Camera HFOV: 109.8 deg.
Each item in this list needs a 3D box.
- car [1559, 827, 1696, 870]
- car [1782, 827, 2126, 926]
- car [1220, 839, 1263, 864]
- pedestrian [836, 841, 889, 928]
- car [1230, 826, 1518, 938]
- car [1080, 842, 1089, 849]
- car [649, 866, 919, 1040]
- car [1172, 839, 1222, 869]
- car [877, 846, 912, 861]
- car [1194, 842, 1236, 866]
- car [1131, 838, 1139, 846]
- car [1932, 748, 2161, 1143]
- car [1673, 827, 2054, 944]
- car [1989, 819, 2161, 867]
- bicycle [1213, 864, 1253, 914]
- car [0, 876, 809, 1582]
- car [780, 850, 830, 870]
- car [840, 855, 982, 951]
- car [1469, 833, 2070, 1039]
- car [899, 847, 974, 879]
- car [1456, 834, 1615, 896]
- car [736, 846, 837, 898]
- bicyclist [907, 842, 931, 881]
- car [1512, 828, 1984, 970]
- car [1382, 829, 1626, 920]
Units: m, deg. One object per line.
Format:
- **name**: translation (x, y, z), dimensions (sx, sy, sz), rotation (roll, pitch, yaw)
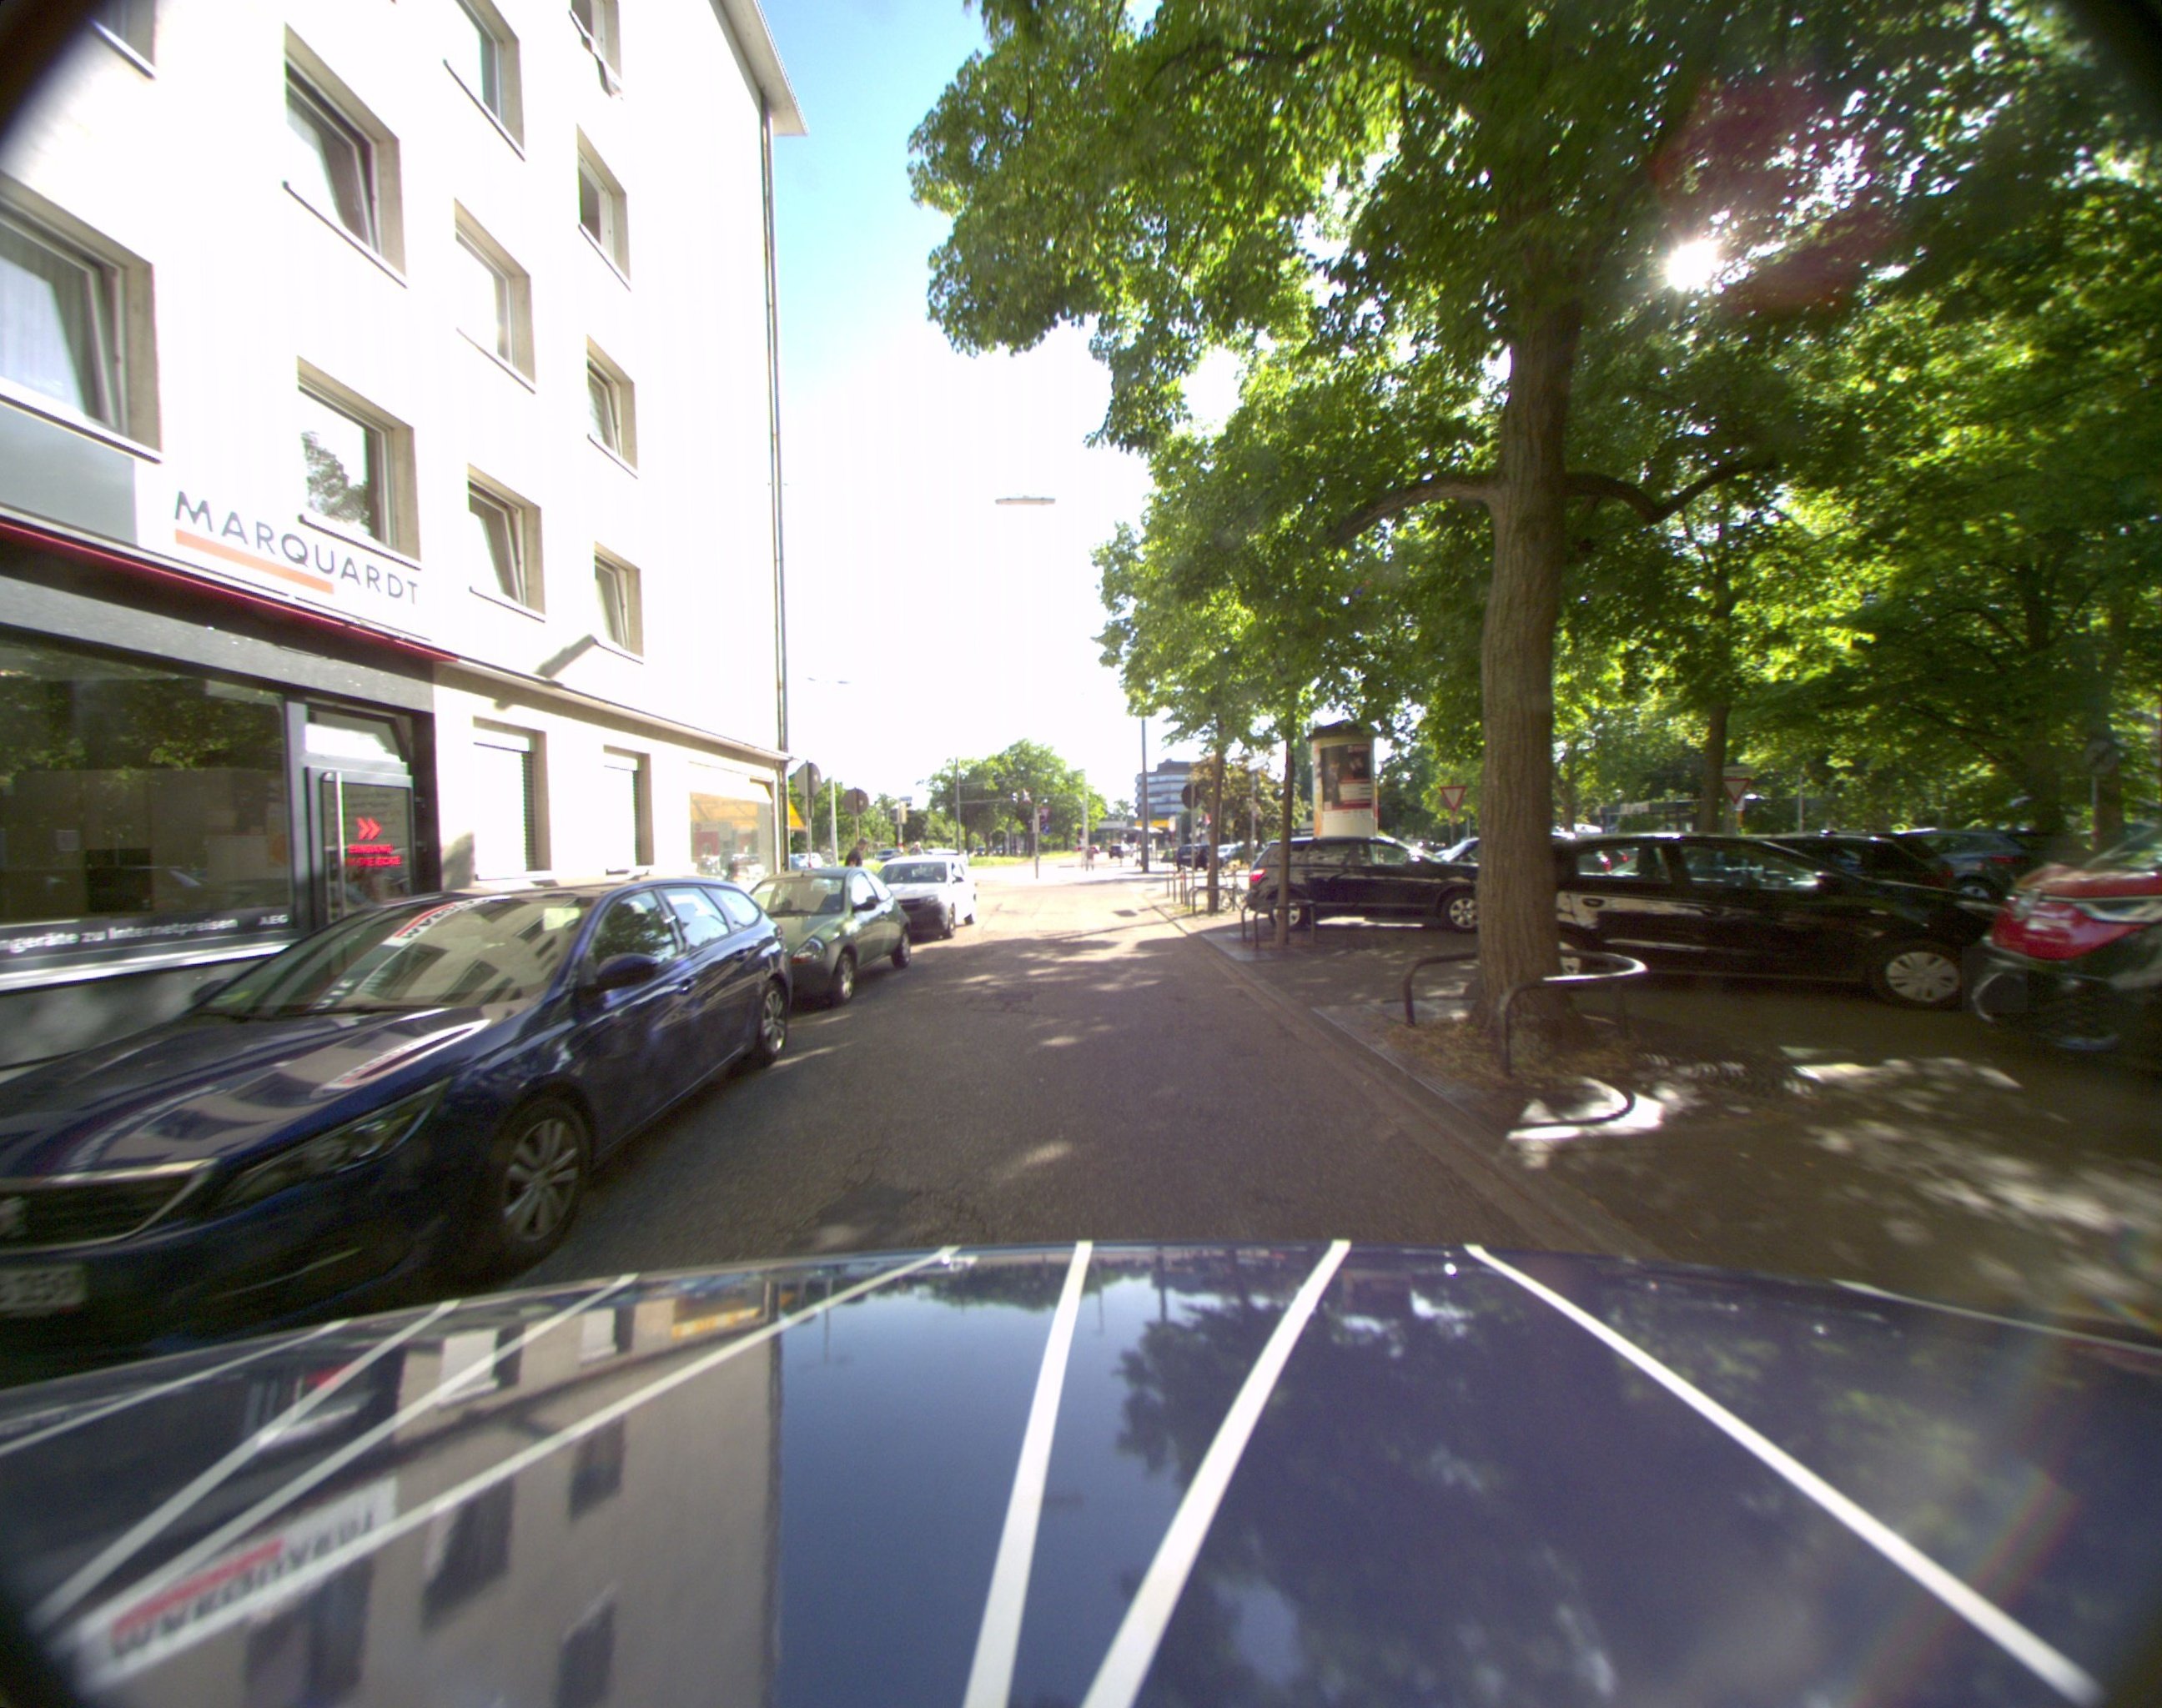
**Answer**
- **car**: translation (21.626, -0.234, 30.098), dimensions (4.486, 1.543, 1.903), rotation (-2, 1, -13)
- **car**: translation (15.493, 0.315, 13.873), dimensions (1.758, 1.503, 3.948), rotation (-2, 1, 0)
- **car**: translation (10.606, -0.200, 50.039), dimensions (1.795, 1.571, 4.006), rotation (-1, 1, 26)
- **pedestrian**: translation (-4.402, 0.594, 15.346), dimensions (0.760, 1.712, 0.745), rotation (-1, 1, 6)
- **car**: translation (5.007, 0.500, 13.121), dimensions (4.326, 1.661, 1.840), rotation (-3, 0, 30)
- **car**: translation (0.917, -2.170, 193.768), dimensions (1.999, 1.652, 4.483), rotation (-1, 1, -2)
- **car**: translation (-3.137, 0.944, 8.874), dimensions (1.600, 1.455, 3.672), rotation (-2, 1, 1)
- **car**: translation (6.702, -0.018, 43.575), dimensions (1.680, 1.499, 3.602), rotation (-3, 0, 28)
- **car**: translation (-19.281, -0.113, 78.753), dimensions (1.871, 1.447, 4.487), rotation (-1, 1, 8)
- **car**: translation (9.039, -0.043, 51.111), dimensions (1.679, 1.499, 3.602), rotation (-1, 1, 28)
- **car**: translation (15.048, -3.354, 213.015), dimensions (1.998, 2.002, 3.999), rotation (-1, 1, 1)
- **car**: translation (7.273, 0.376, 3.259), dimensions (4.490, 1.862, 1.939), rotation (-1, 1, 34)
- **car**: translation (11.905, 0.384, 12.010), dimensions (1.759, 1.478, 3.946), rotation (-2, 1, -6)
- **car**: translation (32.700, -0.359, 25.041), dimensions (1.623, 1.473, 3.250), rotation (-2, 1, -24)
- **bicycle**: translation (3.561, 0.806, 17.880), dimensions (0.354, 1.066, 1.591), rotation (-2, 1, -10)
- **car**: translation (-3.005, 0.972, 3.971), dimensions (1.807, 1.455, 4.438), rotation (-2, 1, -4)
- **car**: translation (-22.379, 0.489, 61.819), dimensions (1.871, 1.447, 4.487), rotation (-1, 1, 8)
- **car**: translation (-3.099, 0.826, 14.683), dimensions (1.723, 1.489, 4.022), rotation (-1, 1, 1)
- **car**: translation (5.819, 0.601, 7.120), dimensions (3.813, 1.472, 1.764), rotation (-1, 1, 29)
- **car**: translation (-7.538, 0.426, 39.215), dimensions (1.927, 1.510, 5.024), rotation (-2, 1, -34)
- **car**: translation (12.487, 0.248, 21.240), dimensions (1.907, 1.510, 4.299), rotation (-2, 1, 1)
- **car**: translation (-11.053, 0.637, 28.379), dimensions (1.877, 1.765, 4.472), rotation (-2, 1, -44)
- **bicyclist**: translation (-6.588, 0.291, 30.817), dimensions (0.829, 1.555, 0.595), rotation (-2, 2, -22)
- **car**: translation (7.589, 0.466, 9.224), dimensions (3.939, 1.414, 1.824), rotation (-1, 1, 24)
- **car**: translation (8.122, 0.367, 15.046), dimensions (3.991, 1.601, 1.925), rotation (-1, 1, 21)
